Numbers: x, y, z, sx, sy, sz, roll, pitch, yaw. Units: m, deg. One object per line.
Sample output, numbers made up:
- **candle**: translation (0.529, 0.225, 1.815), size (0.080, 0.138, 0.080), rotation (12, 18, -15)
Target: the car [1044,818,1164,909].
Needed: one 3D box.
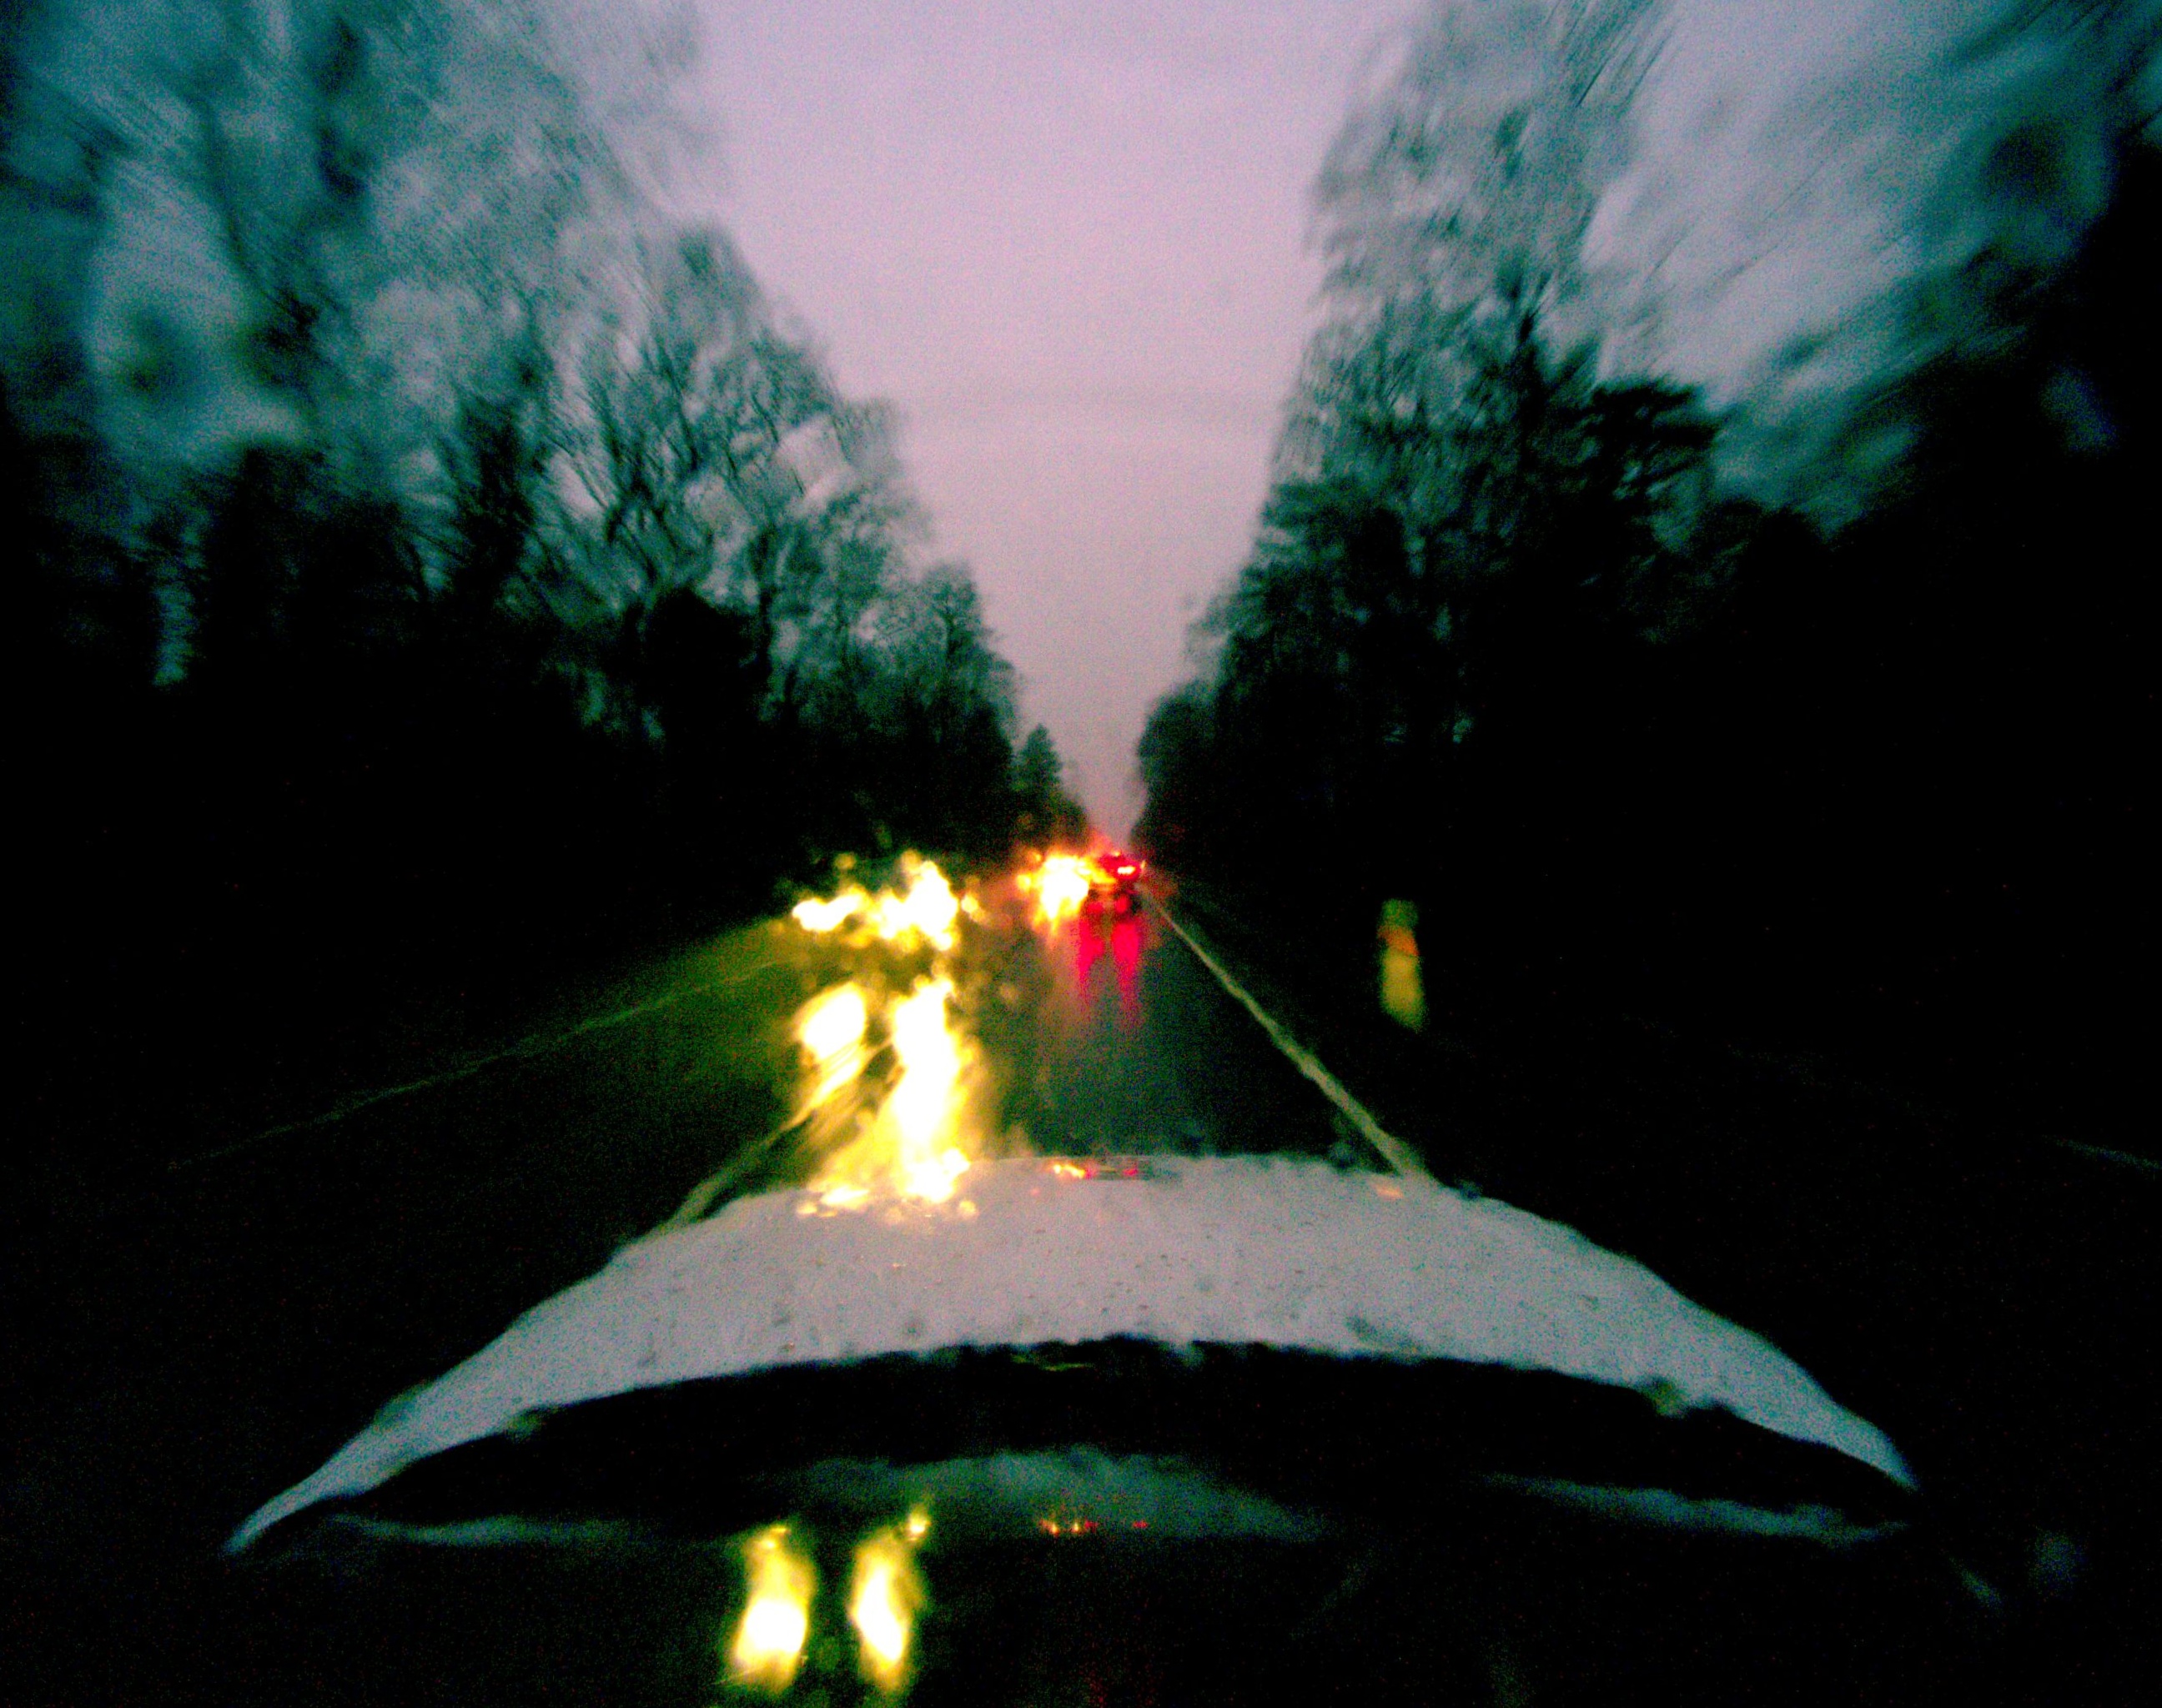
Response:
- **car**: translation (0.764, 0.260, 25.067), size (3.171, 2.386, 6.640), rotation (0, 0, 2)

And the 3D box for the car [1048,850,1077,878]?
- **car**: translation (-1.472, 0.759, 65.090), size (2.000, 1.989, 5.032), rotation (-3, 0, 1)

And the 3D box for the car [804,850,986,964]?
- **car**: translation (-2.995, 0.794, 14.119), size (2.068, 1.616, 4.152), rotation (-2, 0, 1)
